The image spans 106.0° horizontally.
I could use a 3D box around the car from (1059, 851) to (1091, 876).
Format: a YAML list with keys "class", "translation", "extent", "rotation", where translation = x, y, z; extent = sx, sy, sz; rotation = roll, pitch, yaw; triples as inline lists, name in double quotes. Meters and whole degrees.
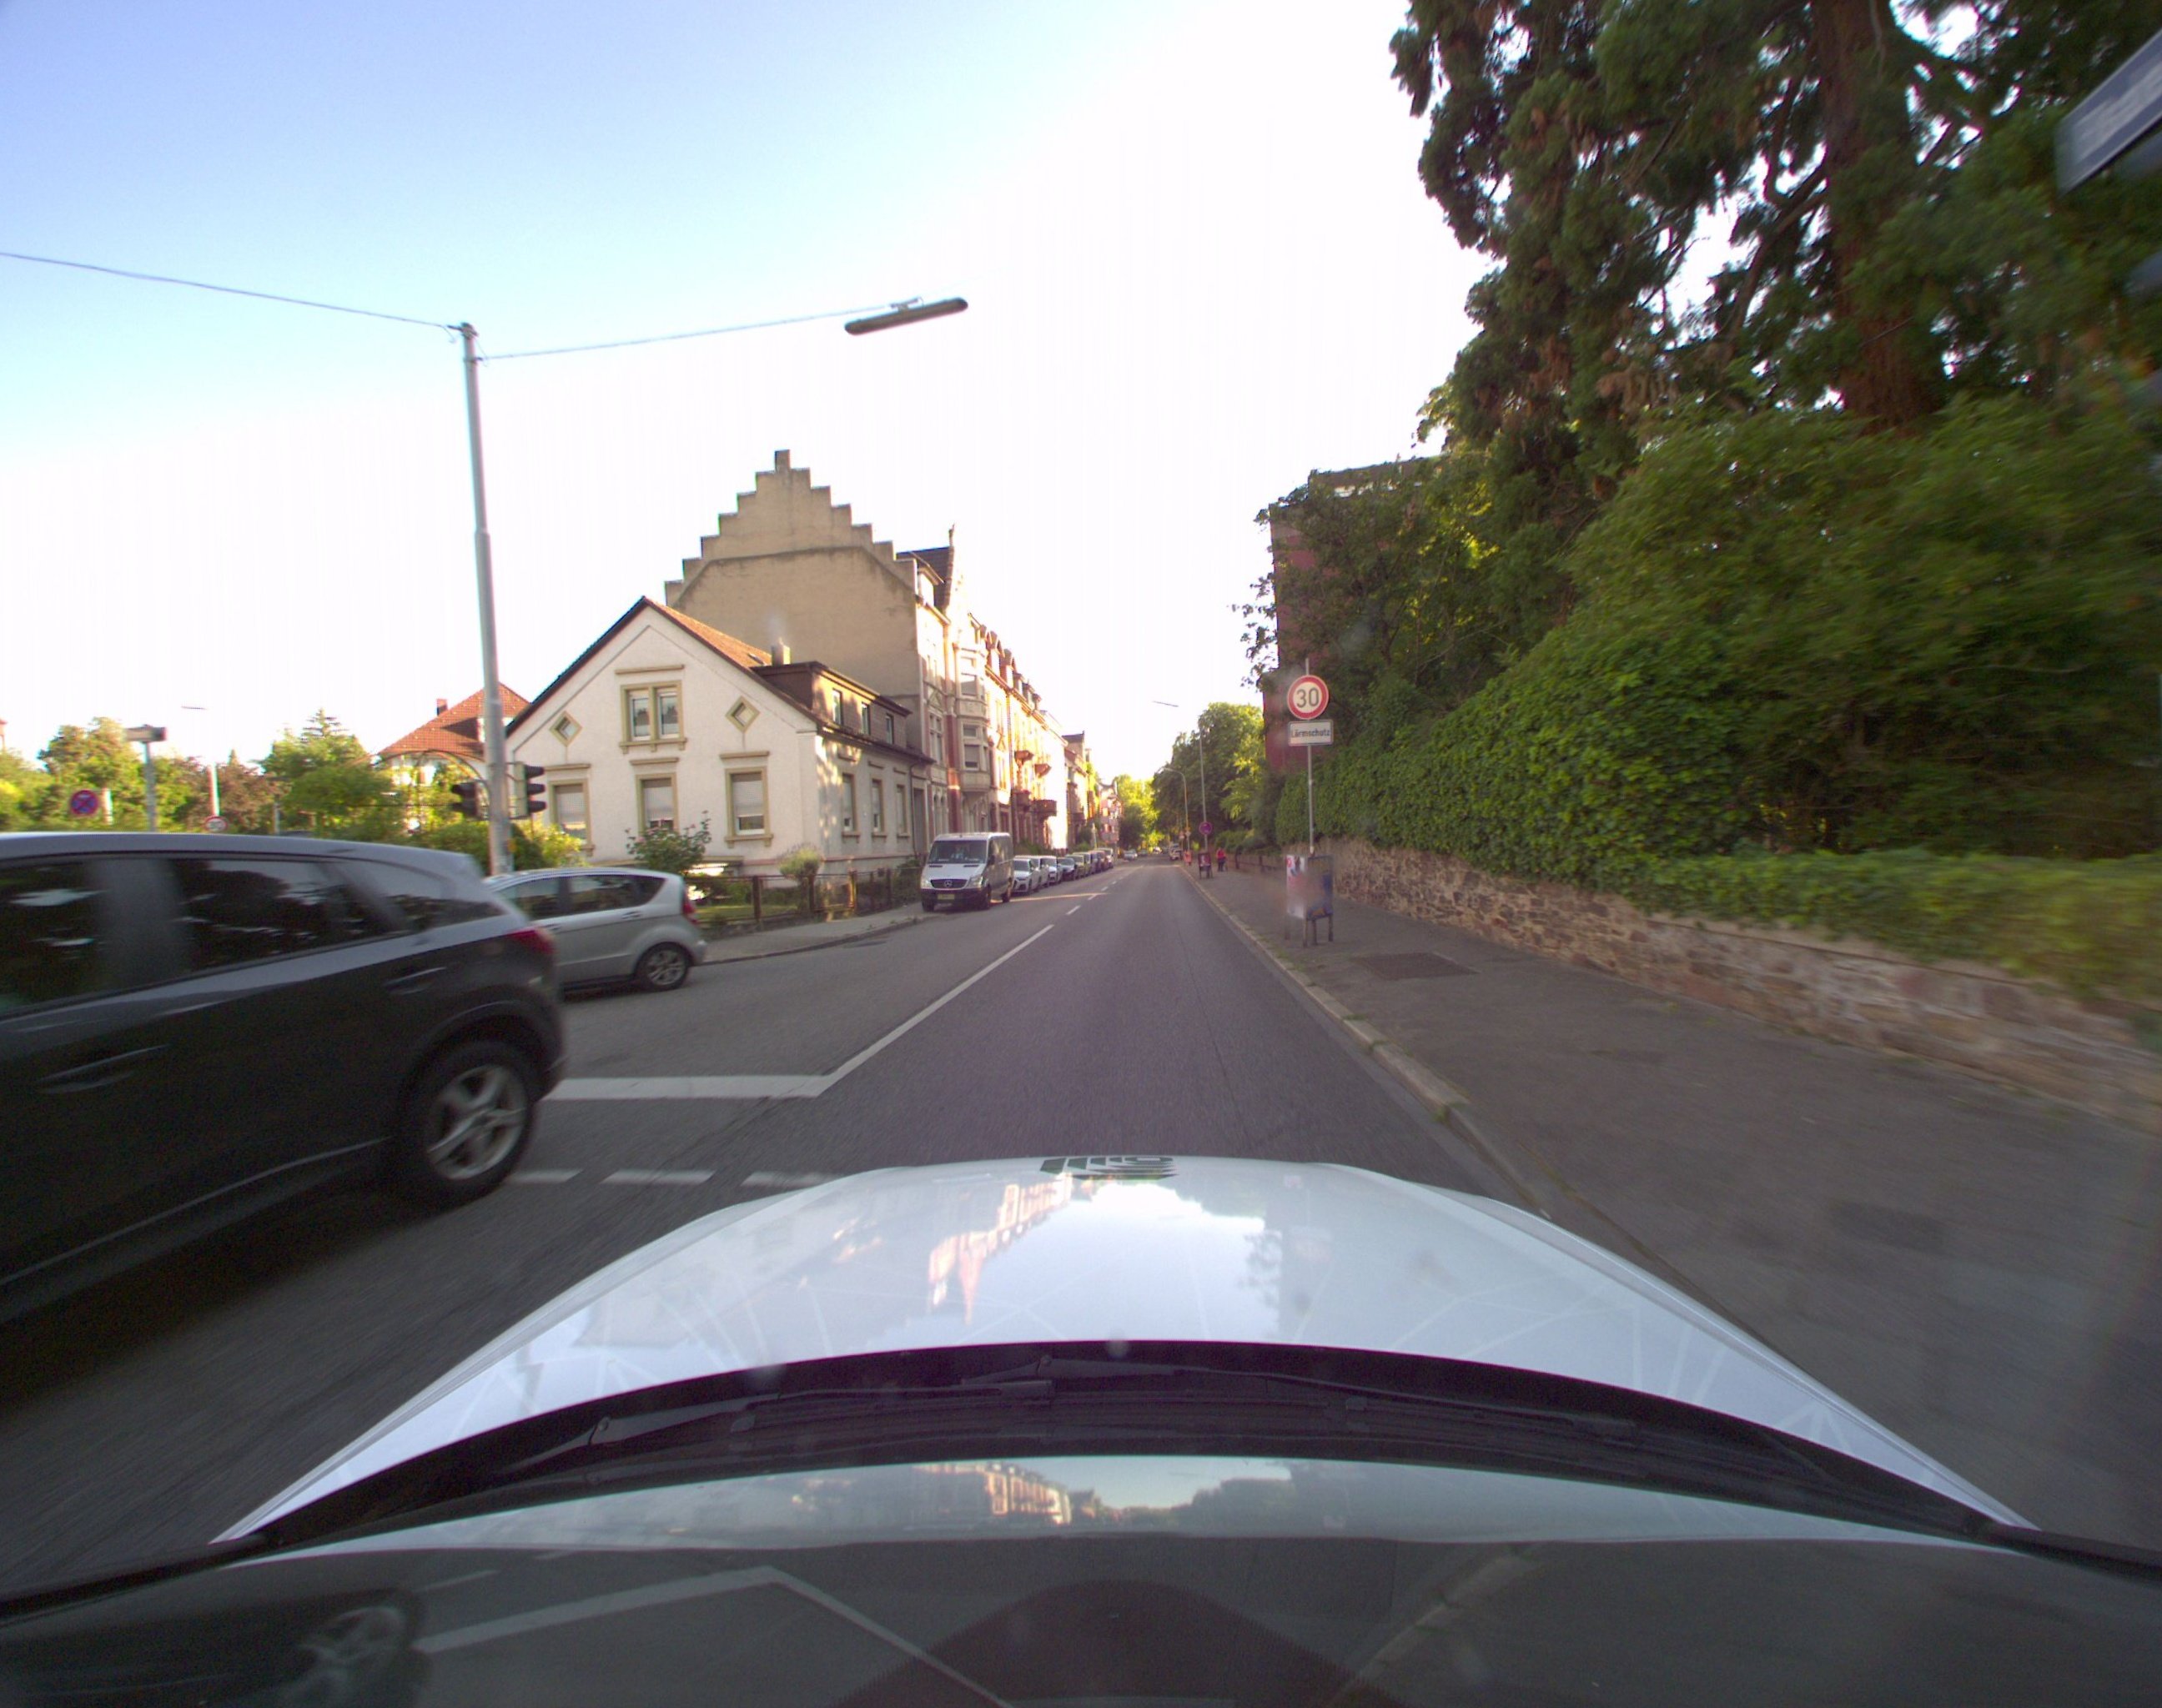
- class: "car"
  translation: [-0.336, 0.609, 53.222]
  extent: [1.694, 1.503, 4.077]
  rotation: [-2, -1, 5]

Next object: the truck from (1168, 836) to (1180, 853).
- class: "truck"
  translation: [16.891, -1.704, 148.020]
  extent: [1.984, 2.896, 4.478]
  rotation: [-4, 1, 5]

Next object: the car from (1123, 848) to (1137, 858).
- class: "car"
  translation: [8.431, -0.167, 139.805]
  extent: [1.984, 1.491, 4.478]
  rotation: [-4, 1, 6]

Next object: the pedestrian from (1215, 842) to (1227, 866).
- class: "pedestrian"
  translation: [8.398, -0.029, 48.951]
  extent: [0.595, 1.403, 0.669]
  rotation: [-2, 1, 4]

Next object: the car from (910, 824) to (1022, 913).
- class: "car"
  translation: [-3.508, 0.369, 26.203]
  extent: [2.057, 2.460, 6.025]
  rotation: [-2, 1, 6]

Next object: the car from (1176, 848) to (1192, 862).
- class: "car"
  translation: [13.503, 0.099, 106.821]
  extent: [1.983, 1.517, 4.009]
  rotation: [-4, 1, 7]

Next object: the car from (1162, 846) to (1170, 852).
- class: "car"
  translation: [24.105, -1.530, 231.946]
  extent: [1.985, 1.491, 4.474]
  rotation: [-4, 1, 3]

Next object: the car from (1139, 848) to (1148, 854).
- class: "car"
  translation: [15.827, -0.751, 206.451]
  extent: [1.984, 1.491, 4.478]
  rotation: [-4, 1, 6]

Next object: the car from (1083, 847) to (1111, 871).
- class: "car"
  translation: [1.312, 0.351, 63.251]
  extent: [1.693, 1.707, 4.449]
  rotation: [-2, 1, 7]

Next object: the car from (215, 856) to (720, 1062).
- class: "car"
  translation: [-6.831, 0.950, 9.510]
  extent: [1.934, 1.648, 4.311]
  rotation: [-1, 2, 39]

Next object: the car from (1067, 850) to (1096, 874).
- class: "car"
  translation: [0.081, 0.538, 58.221]
  extent: [1.694, 1.584, 3.640]
  rotation: [-2, 1, 5]

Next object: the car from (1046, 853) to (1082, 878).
- class: "car"
  translation: [-0.988, 0.649, 48.174]
  extent: [1.694, 1.366, 3.865]
  rotation: [-2, 1, 5]

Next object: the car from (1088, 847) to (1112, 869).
- class: "car"
  translation: [1.641, 0.338, 68.260]
  extent: [1.694, 1.738, 3.862]
  rotation: [-2, 1, 5]

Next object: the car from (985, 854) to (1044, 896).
- class: "car"
  translation: [-2.627, 0.800, 32.868]
  extent: [1.694, 1.502, 3.828]
  rotation: [-2, 1, 5]

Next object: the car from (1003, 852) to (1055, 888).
- class: "car"
  translation: [-2.389, 0.713, 38.295]
  extent: [1.694, 1.502, 4.028]
  rotation: [-2, 1, 6]

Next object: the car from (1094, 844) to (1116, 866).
- class: "car"
  translation: [2.359, 0.078, 78.972]
  extent: [1.784, 2.010, 4.704]
  rotation: [-2, 1, 5]

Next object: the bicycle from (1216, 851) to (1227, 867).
- class: "bicycle"
  translation: [8.348, 0.294, 48.320]
  extent: [0.563, 0.970, 0.493]
  rotation: [-2, 1, 4]

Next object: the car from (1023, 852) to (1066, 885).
- class: "car"
  translation: [-1.864, 0.708, 42.988]
  extent: [1.694, 1.536, 4.555]
  rotation: [-2, 1, 5]

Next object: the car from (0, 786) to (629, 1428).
- class: "car"
  translation: [-3.734, 0.671, 2.463]
  extent: [1.943, 1.648, 4.291]
  rotation: [-2, 1, 6]
